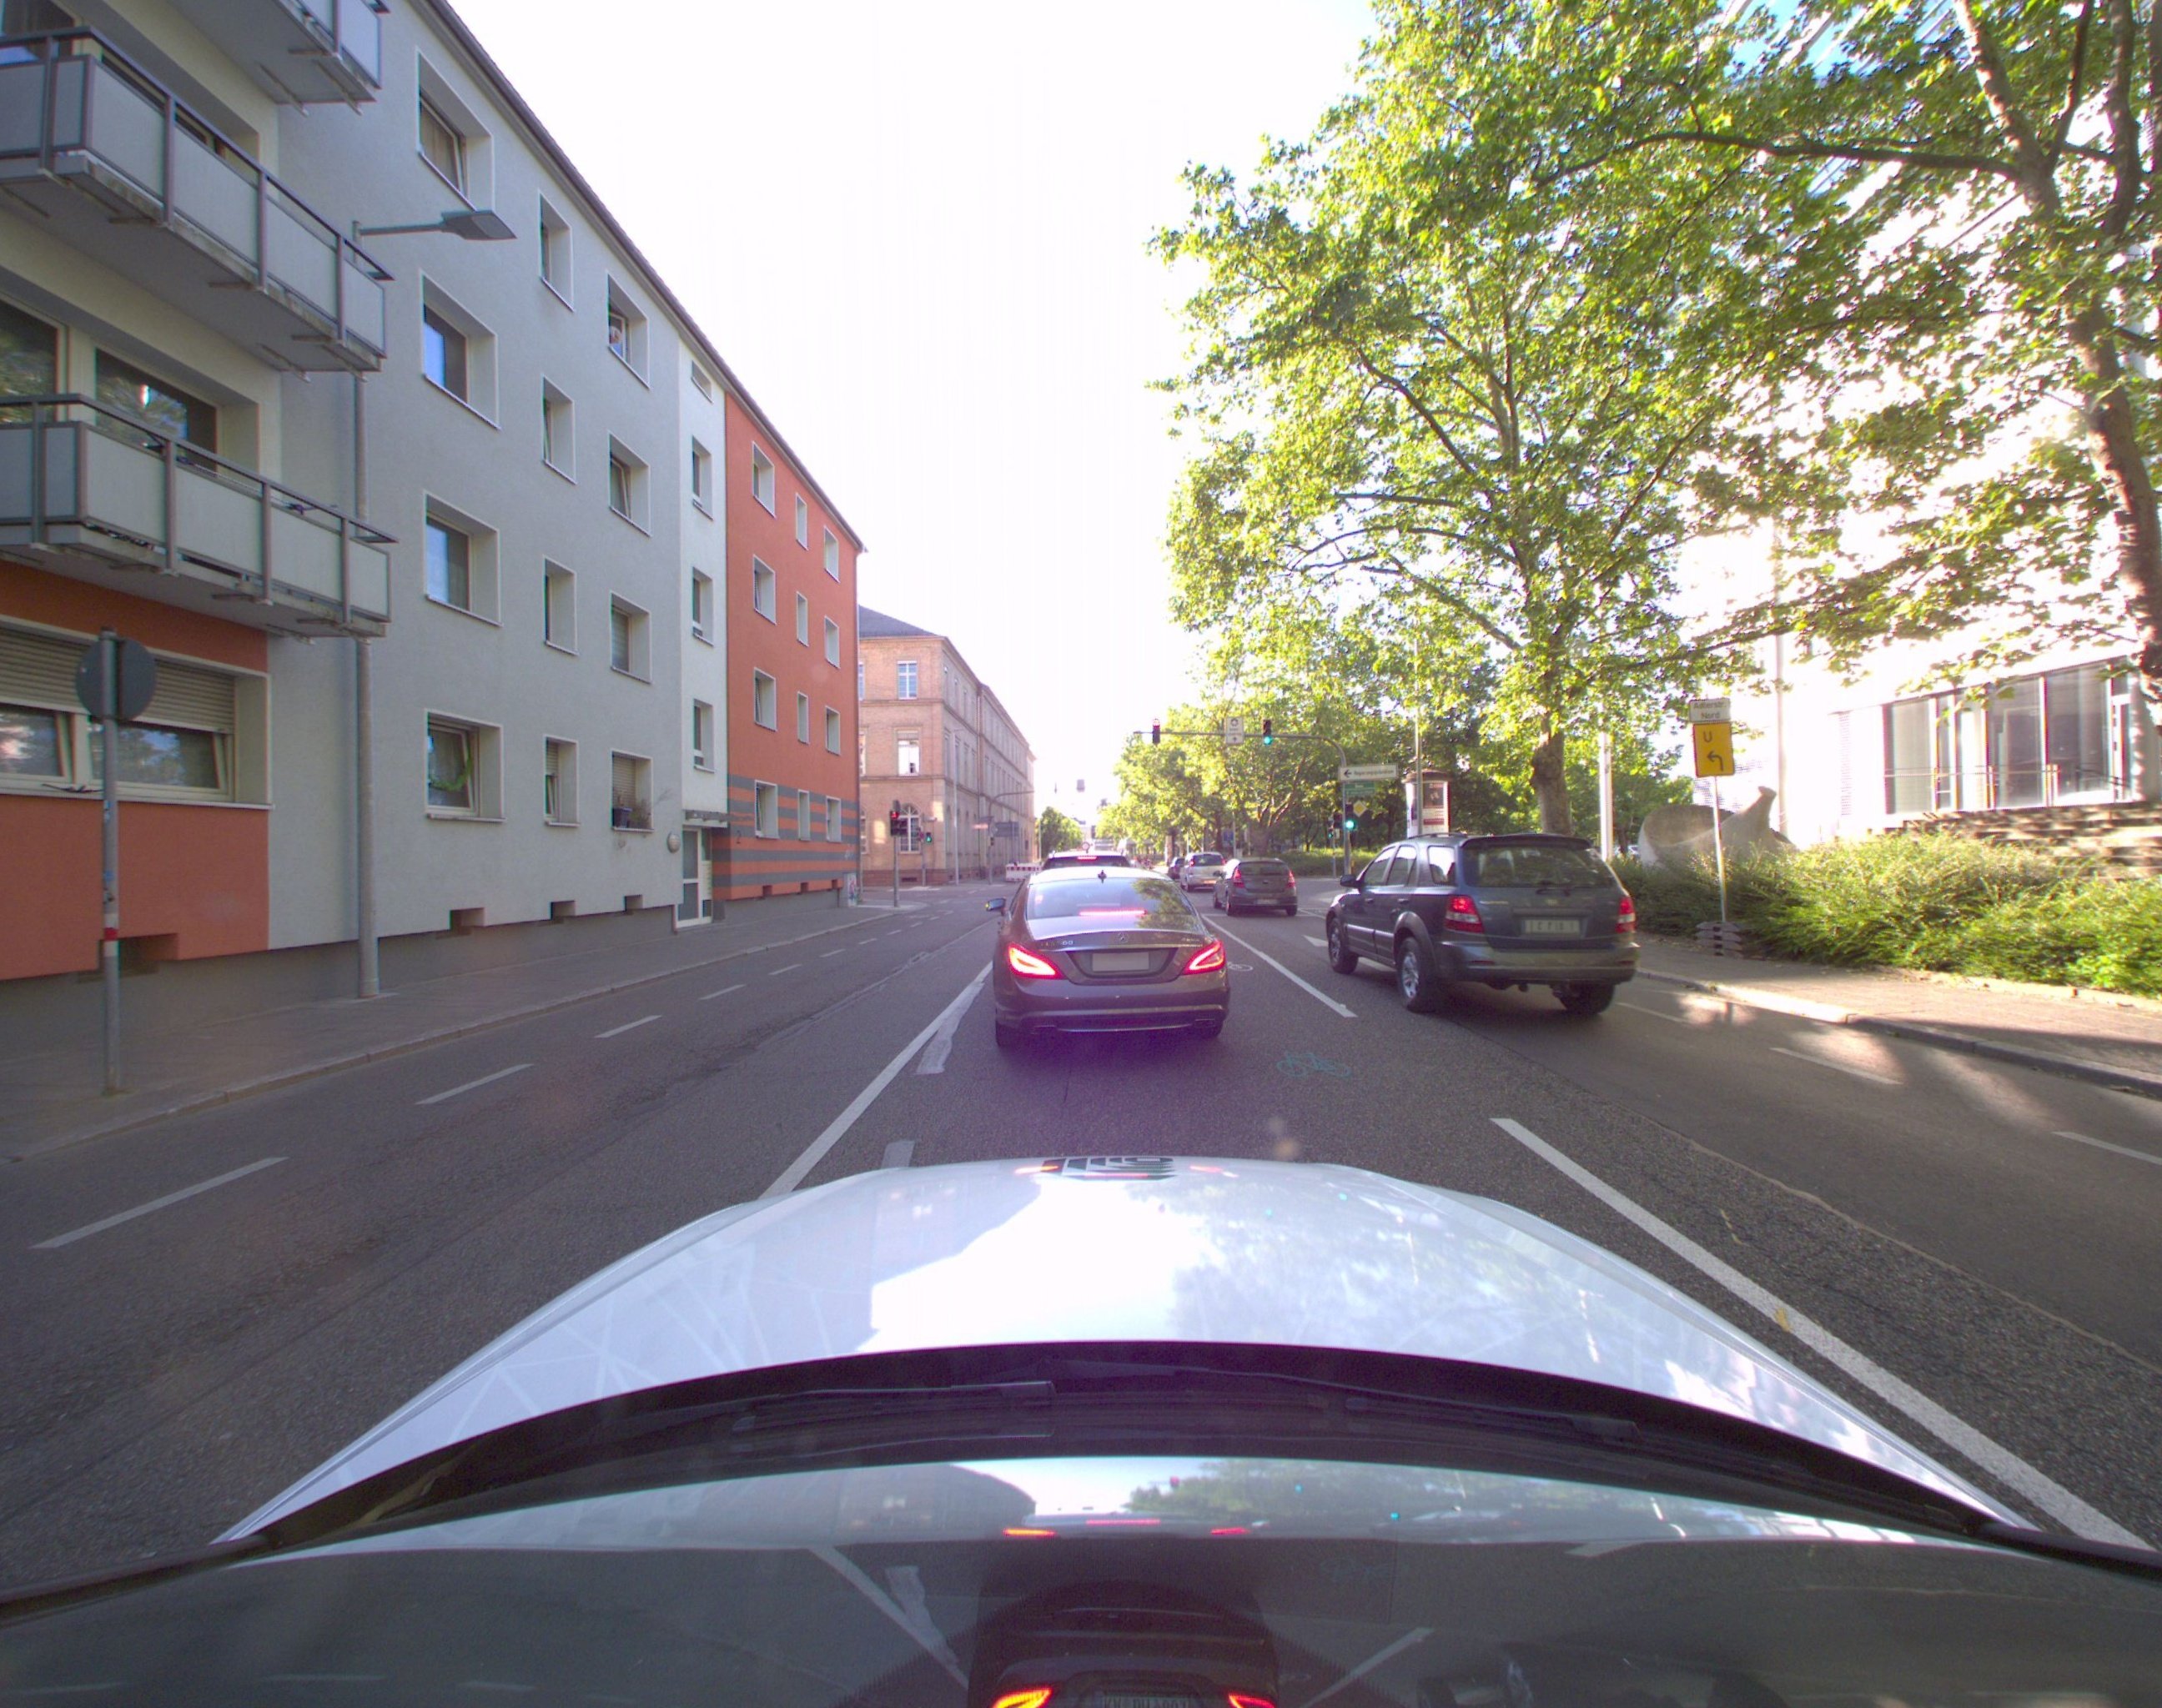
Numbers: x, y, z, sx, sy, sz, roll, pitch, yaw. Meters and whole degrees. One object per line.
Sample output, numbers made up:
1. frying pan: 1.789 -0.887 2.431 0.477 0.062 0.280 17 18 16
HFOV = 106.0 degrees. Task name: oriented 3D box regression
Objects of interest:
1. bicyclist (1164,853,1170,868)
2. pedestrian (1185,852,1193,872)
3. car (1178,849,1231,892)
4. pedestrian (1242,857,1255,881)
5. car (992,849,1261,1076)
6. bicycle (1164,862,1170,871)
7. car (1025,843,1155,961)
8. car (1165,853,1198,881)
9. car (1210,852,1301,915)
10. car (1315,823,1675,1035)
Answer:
1. bicyclist: 11.074 0.836 104.883 0.593 2.039 0.566 0 -1 -3
2. pedestrian: 9.563 0.694 72.116 0.634 1.760 0.698 0 -1 -2
3. car: 5.063 0.646 33.736 1.725 1.662 3.682 0 -1 2
4. pedestrian: 11.008 0.958 53.557 0.634 1.545 0.909 0 -1 -5
5. car: 0.142 0.738 7.603 1.859 1.519 3.992 -1 0 -6
6. bicycle: 11.077 1.601 104.920 0.590 1.263 1.804 0 -1 -3
7. car: 0.190 0.696 13.738 1.854 1.682 4.002 -1 0 2
8. car: 5.853 0.757 47.661 1.595 1.549 3.682 0 -1 2
9. car: 4.587 0.725 21.939 1.698 1.519 4.002 -1 0 2
10. car: 4.134 0.636 9.118 1.854 1.764 4.483 -1 0 2
